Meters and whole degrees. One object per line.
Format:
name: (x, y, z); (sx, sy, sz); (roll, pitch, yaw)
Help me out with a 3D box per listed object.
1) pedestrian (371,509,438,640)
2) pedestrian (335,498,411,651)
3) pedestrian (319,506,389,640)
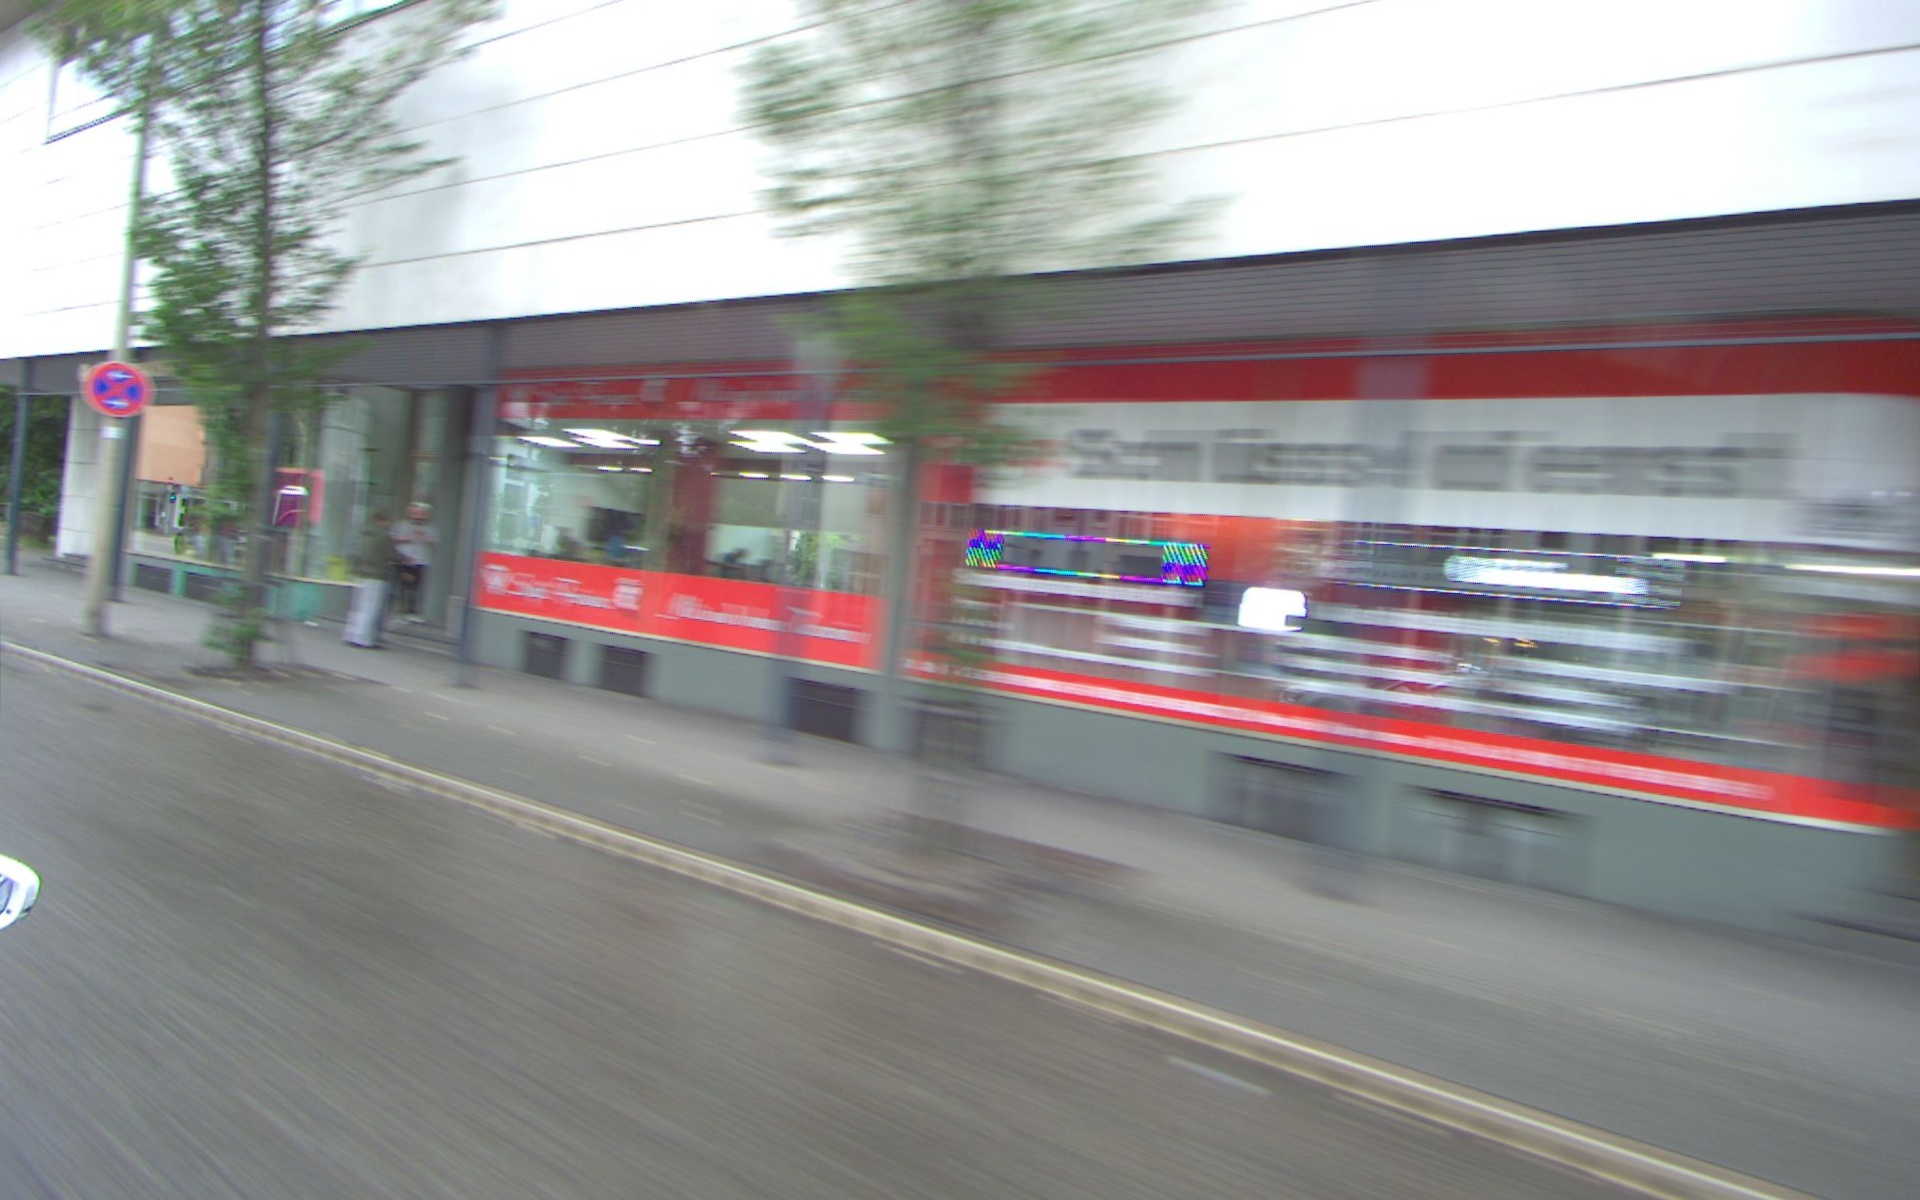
pedestrian: (-7.738, -0.354, 14.010); (0.527, 1.741, 0.535); (8, 2, 41)
pedestrian: (-7.384, -0.319, 12.661); (0.527, 1.843, 0.535); (7, 2, 40)
pedestrian: (-8.216, -0.363, 13.645); (0.527, 1.741, 0.535); (7, 2, 40)
